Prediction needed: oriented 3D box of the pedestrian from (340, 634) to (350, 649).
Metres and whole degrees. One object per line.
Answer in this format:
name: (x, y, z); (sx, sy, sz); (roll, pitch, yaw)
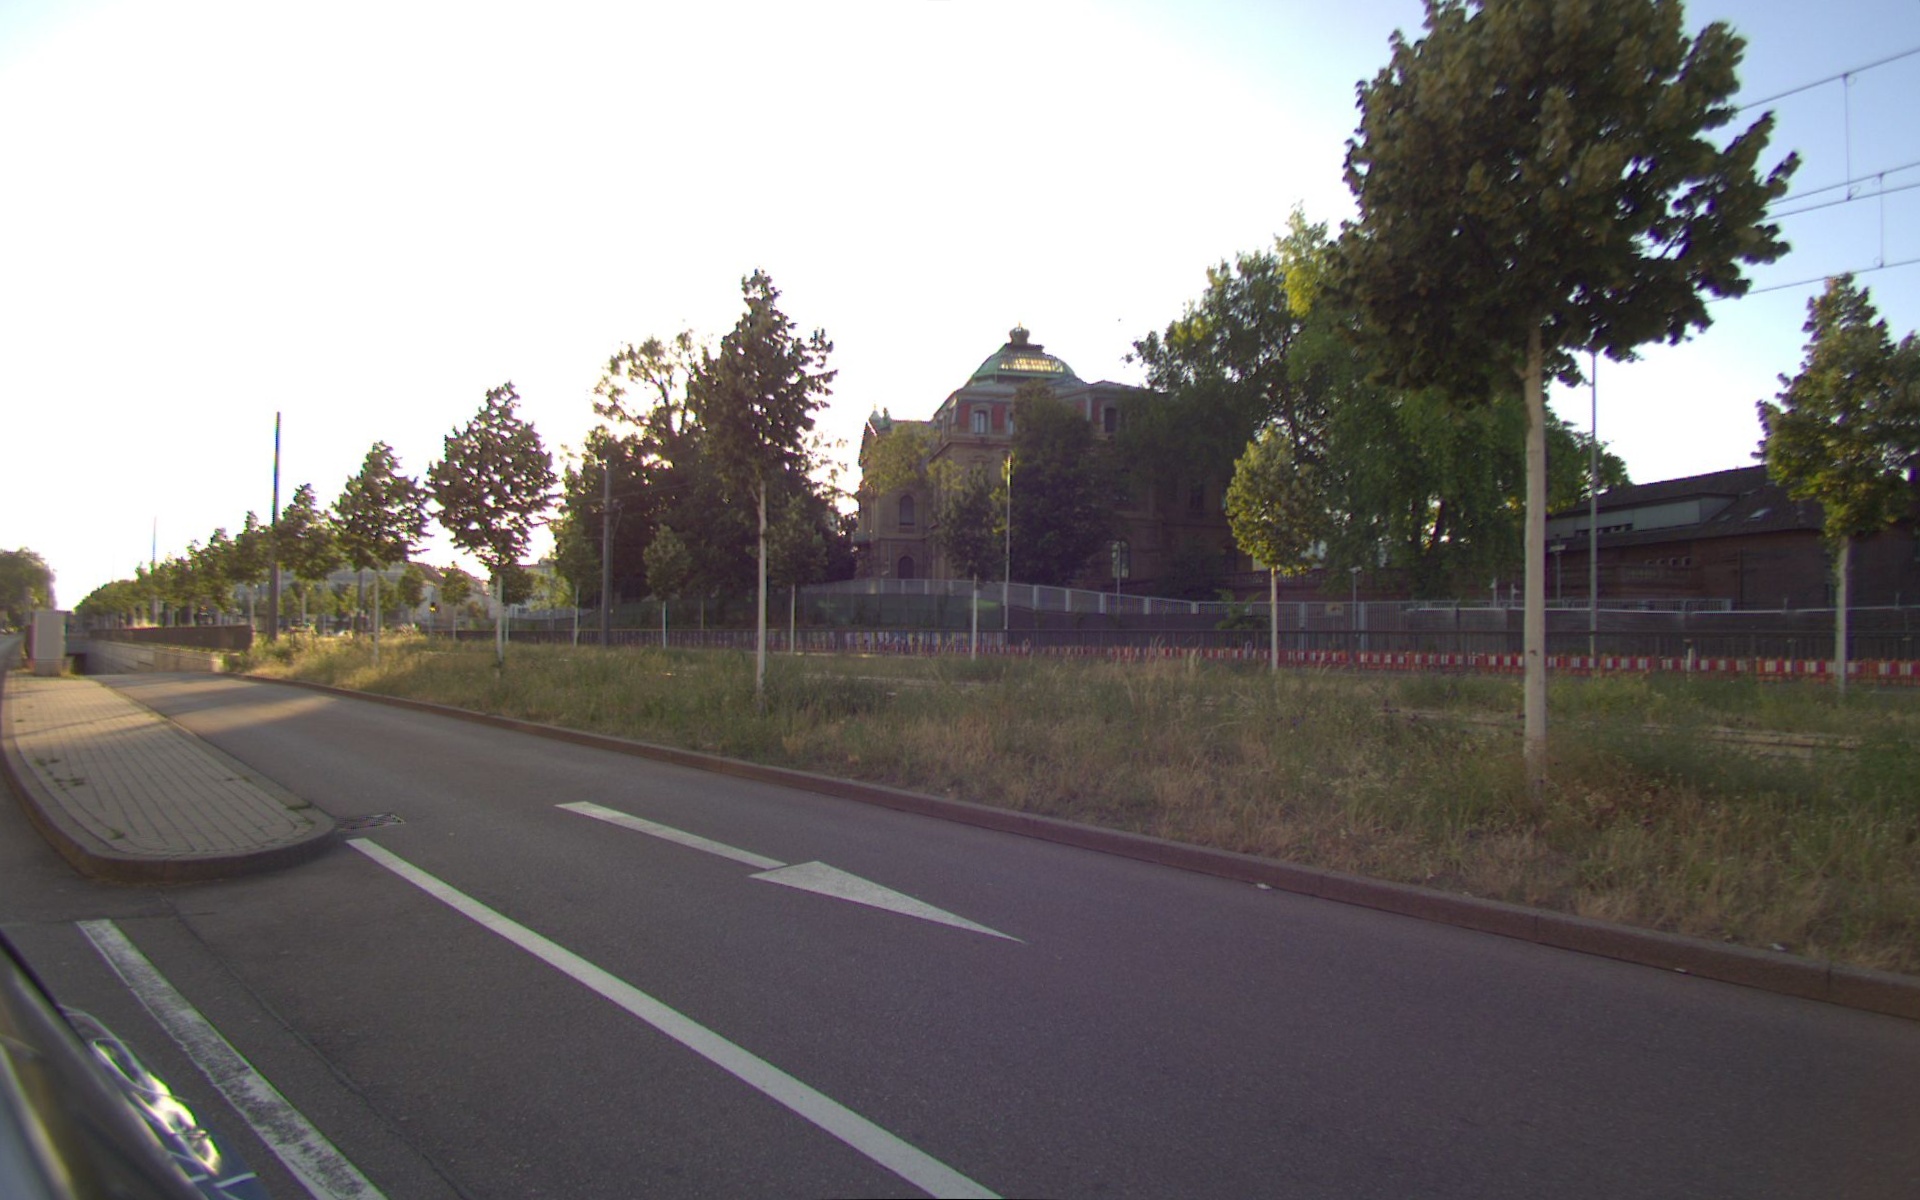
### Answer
pedestrian: (-77.390, 5.227, 127.341); (0.837, 1.861, 0.801); (-2, -2, 41)
